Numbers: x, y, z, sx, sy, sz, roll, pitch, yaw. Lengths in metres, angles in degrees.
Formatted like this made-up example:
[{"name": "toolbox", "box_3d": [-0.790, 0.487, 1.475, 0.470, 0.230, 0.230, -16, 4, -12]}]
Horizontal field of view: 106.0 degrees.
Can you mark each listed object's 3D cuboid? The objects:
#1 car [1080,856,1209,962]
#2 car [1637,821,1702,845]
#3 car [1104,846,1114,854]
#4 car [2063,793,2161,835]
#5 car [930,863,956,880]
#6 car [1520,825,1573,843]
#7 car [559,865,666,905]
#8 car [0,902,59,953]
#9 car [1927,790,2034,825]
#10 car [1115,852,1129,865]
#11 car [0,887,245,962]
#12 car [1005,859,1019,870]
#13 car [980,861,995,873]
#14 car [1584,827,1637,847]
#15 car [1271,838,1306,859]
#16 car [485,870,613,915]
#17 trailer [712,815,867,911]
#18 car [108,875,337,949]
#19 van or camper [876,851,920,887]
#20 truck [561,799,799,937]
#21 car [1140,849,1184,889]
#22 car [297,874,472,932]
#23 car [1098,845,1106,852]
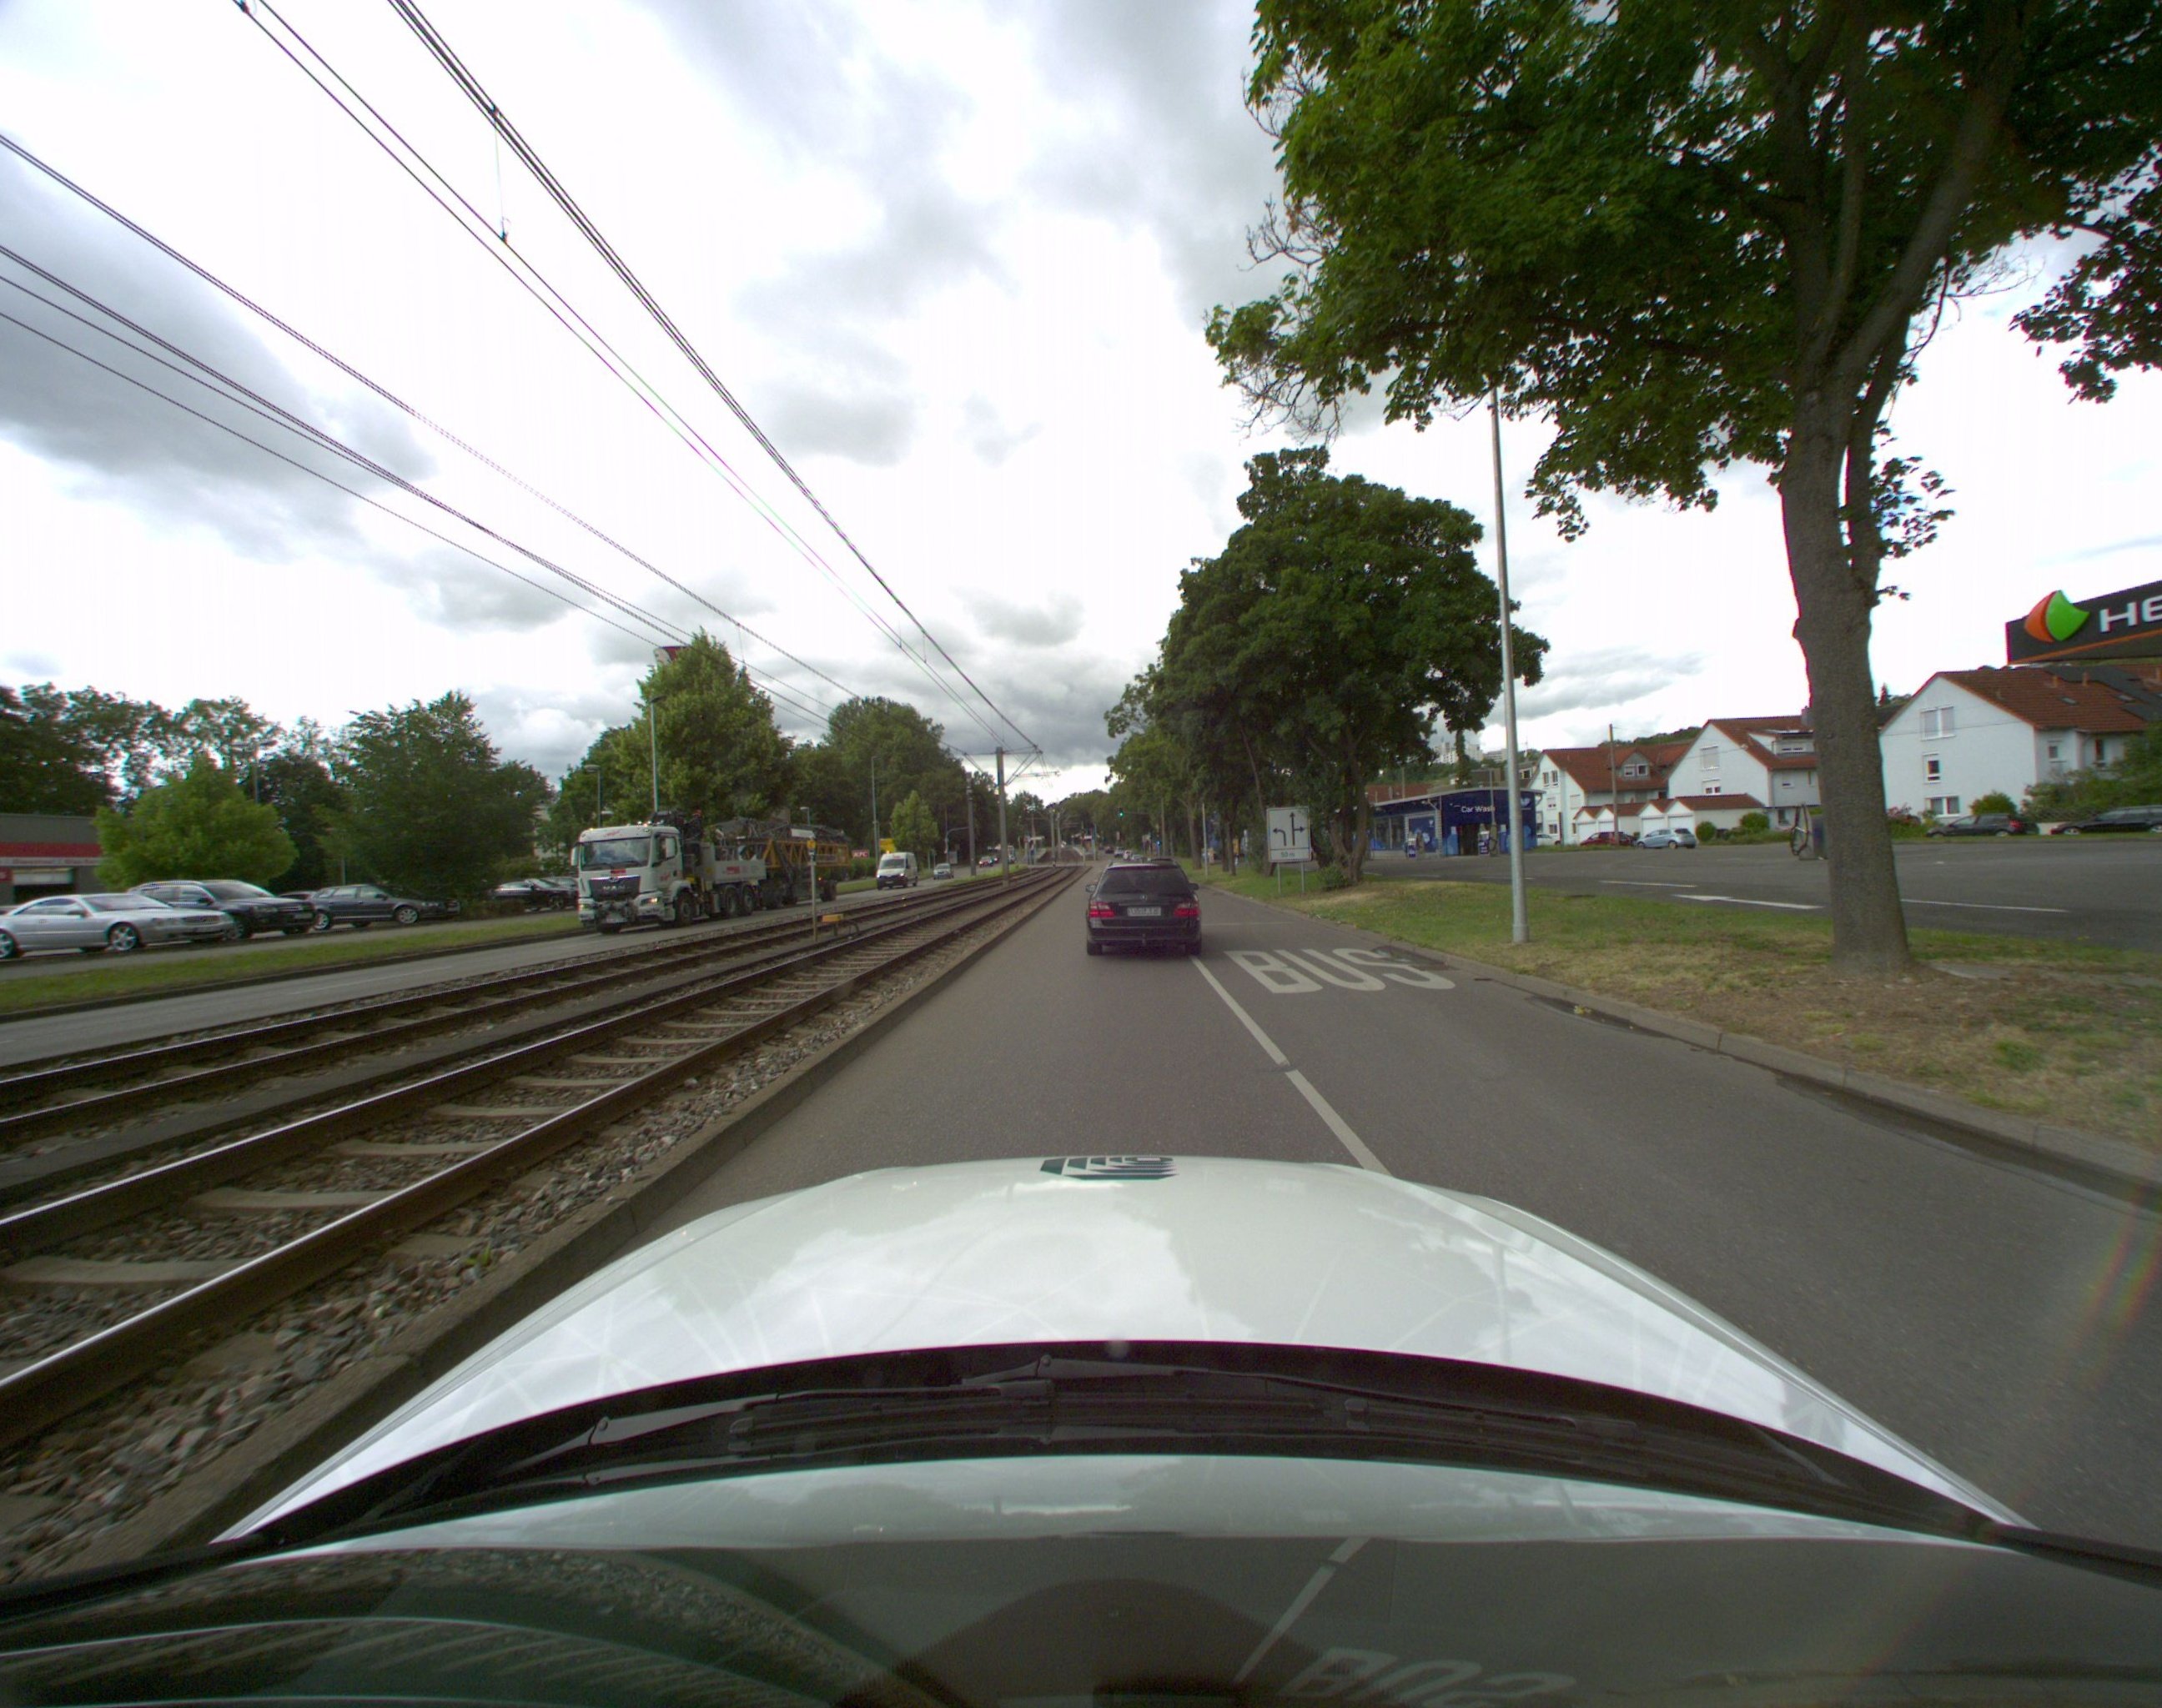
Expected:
[{"name": "car", "box_3d": [0.969, 0.791, 13.581, 1.802, 1.474, 3.882, -1, 0, 2]}, {"name": "car", "box_3d": [42.322, -1.467, 58.642, 1.533, 1.599, 3.723, -1, 0, -10]}, {"name": "car", "box_3d": [6.241, -0.849, 181.612, 1.986, 1.838, 4.001, -1, 0, 2]}, {"name": "car", "box_3d": [46.699, -1.734, 35.892, 1.755, 1.689, 3.985, -1, 0, -10]}, {"name": "car", "box_3d": [-13.620, 1.740, 80.706, 1.758, 1.647, 3.772, -1, 0, 2]}, {"name": "car", "box_3d": [45.697, -1.975, 79.936, 4.203, 1.684, 1.777, -1, -1, -1]}, {"name": "car", "box_3d": [-22.567, 1.472, 39.329, 3.978, 1.797, 1.876, -1, 0, -3]}, {"name": "car", "box_3d": [-35.324, 2.410, 25.712, 3.940, 1.507, 1.683, -3, 0, 0]}, {"name": "car", "box_3d": [50.898, -2.608, 46.189, 1.683, 1.684, 4.002, -3, 0, 2]}, {"name": "car", "box_3d": [6.251, 0.672, 124.283, 1.986, 1.838, 4.001, -1, 0, 2]}, {"name": "car", "box_3d": [-22.929, 1.639, 19.330, 4.294, 1.472, 1.680, -2, 0, -1]}, {"name": "car", "box_3d": [-10.939, 1.670, 128.617, 1.758, 1.647, 3.772, -1, 0, 2]}, {"name": "car", "box_3d": [-13.766, 1.874, 120.081, 1.758, 1.647, 3.772, -1, 0, 2]}, {"name": "car", "box_3d": [41.435, -1.322, 63.835, 1.581, 1.394, 3.406, -1, 0, -10]}, {"name": "car", "box_3d": [18.125, -0.471, 71.130, 1.987, 1.682, 4.607, -3, 0, 26]}, {"name": "car", "box_3d": [-22.176, 1.590, 34.089, 3.978, 1.599, 1.876, -3, 0, -3]}, {"name": "trailer", "box_3d": [-13.181, 0.372, 38.608, 2.697, 3.660, 13.291, -3, 0, -1]}, {"name": "car", "box_3d": [-23.073, 1.522, 22.034, 3.978, 1.635, 1.876, -3, 0, -3]}, {"name": "van or camper", "box_3d": [-12.944, 1.035, 57.972, 1.989, 2.354, 5.760, -3, 0, -2]}, {"name": "truck", "box_3d": [-12.966, 0.389, 27.987, 2.698, 3.663, 11.106, -3, 0, -1]}, {"name": "car", "box_3d": [3.707, 0.699, 37.750, 1.774, 1.750, 3.719, 0, -1, 2]}, {"name": "car", "box_3d": [-22.815, 1.570, 26.810, 3.978, 1.599, 1.876, -3, 0, -3]}, {"name": "car", "box_3d": [5.163, -1.308, 197.227, 1.662, 1.532, 3.768, -1, 0, -2]}]
